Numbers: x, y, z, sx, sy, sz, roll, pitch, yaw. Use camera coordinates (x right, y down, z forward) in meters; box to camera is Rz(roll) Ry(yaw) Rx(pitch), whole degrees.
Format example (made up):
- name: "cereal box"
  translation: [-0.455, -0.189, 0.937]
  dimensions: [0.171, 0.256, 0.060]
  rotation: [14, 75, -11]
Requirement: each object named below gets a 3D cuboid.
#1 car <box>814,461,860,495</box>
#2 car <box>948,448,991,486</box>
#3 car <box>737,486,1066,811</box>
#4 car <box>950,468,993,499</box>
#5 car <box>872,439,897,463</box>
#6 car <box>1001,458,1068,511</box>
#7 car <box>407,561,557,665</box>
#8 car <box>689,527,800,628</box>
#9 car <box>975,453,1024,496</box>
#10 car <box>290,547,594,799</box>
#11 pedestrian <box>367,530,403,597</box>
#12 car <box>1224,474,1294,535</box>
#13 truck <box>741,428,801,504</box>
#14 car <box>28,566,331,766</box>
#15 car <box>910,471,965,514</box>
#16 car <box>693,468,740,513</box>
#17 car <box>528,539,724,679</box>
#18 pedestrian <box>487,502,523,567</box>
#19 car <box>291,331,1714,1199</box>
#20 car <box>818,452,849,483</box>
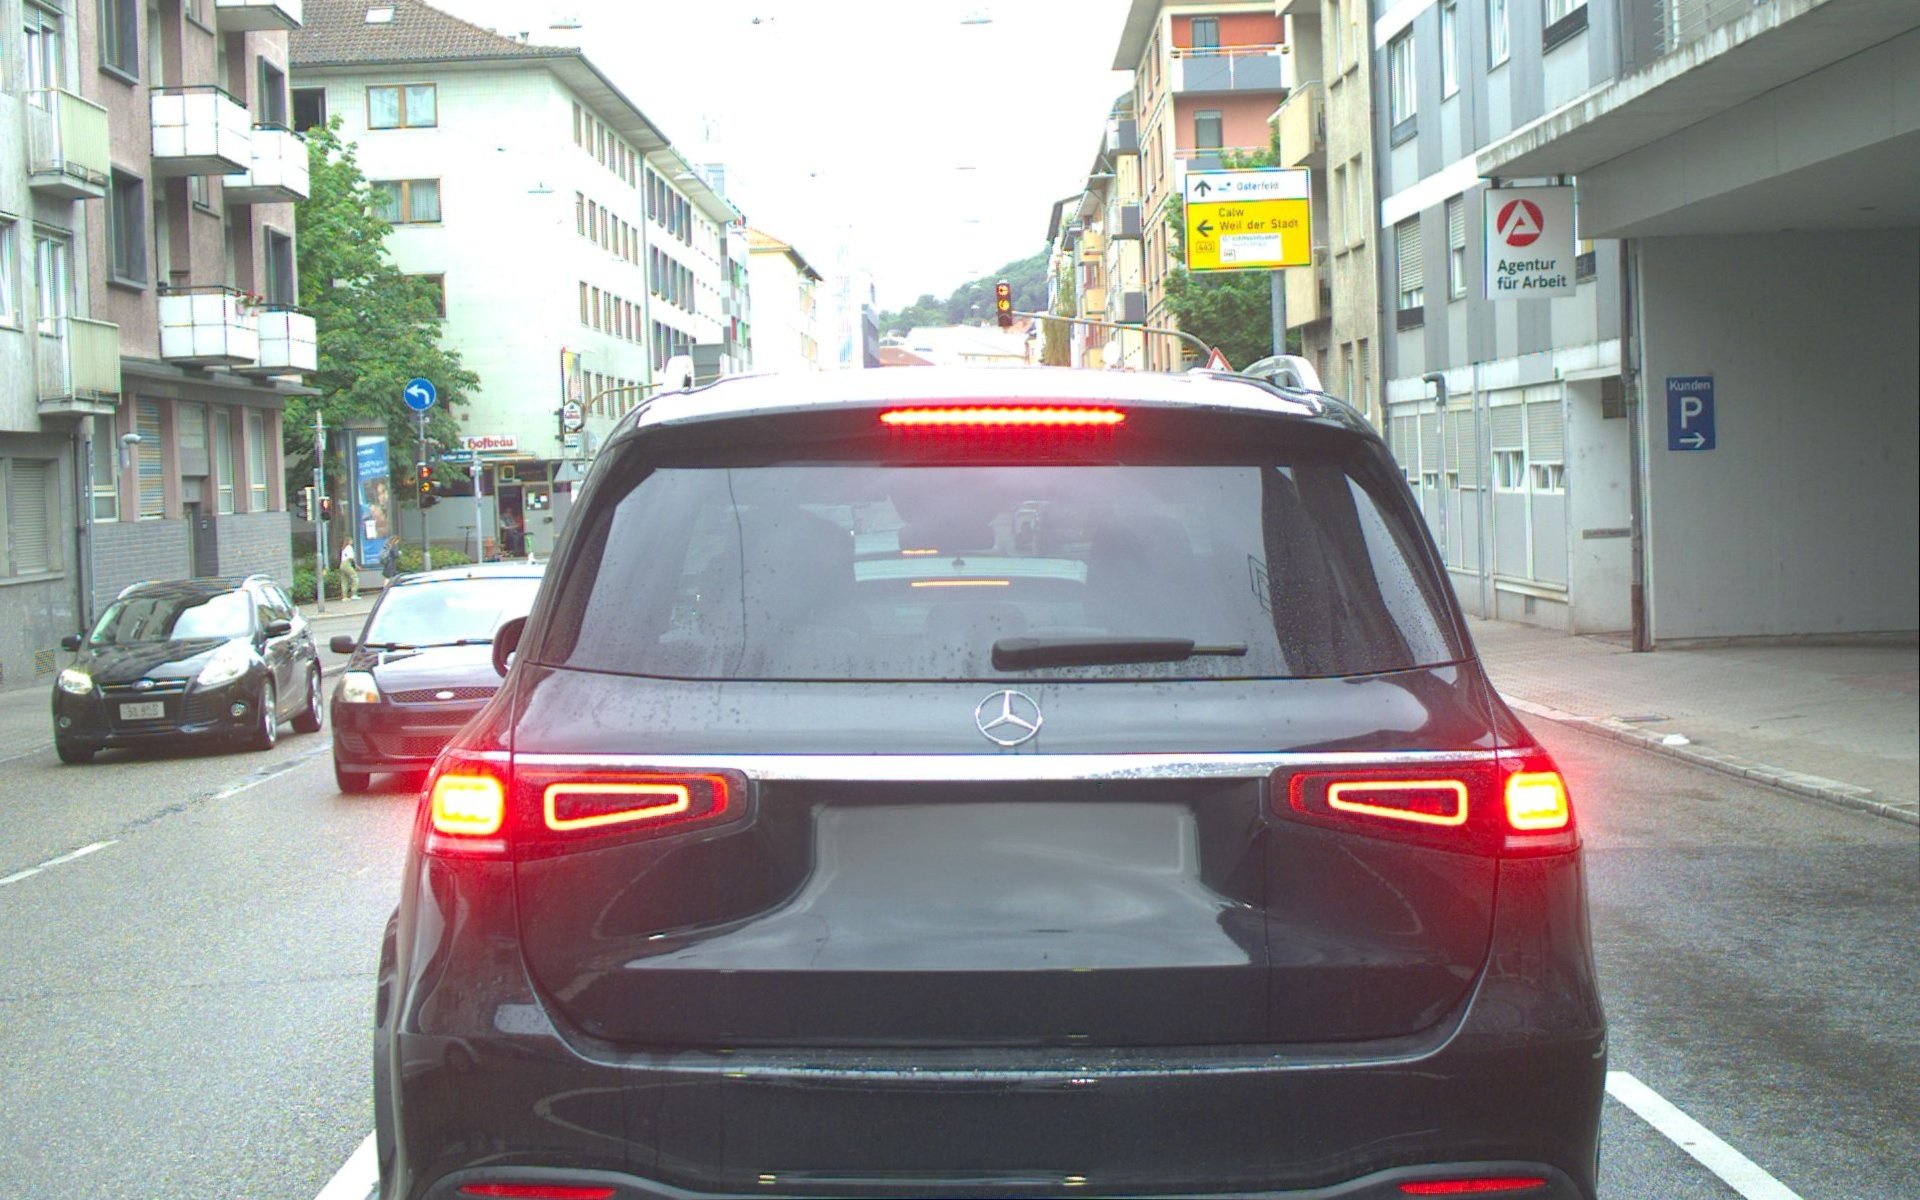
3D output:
- name: "car"
  translation: [-5.337, -5.293, 148.955]
  dimensions: [1.885, 1.260, 4.218]
  rotation: [-3, 1, -3]
- name: "car"
  translation: [0.421, -6.048, 156.879]
  dimensions: [1.618, 1.534, 4.218]
  rotation: [-3, 1, -3]
- name: "car"
  translation: [-0.419, 0.246, 20.843]
  dimensions: [1.751, 1.725, 4.218]
  rotation: [-1, 1, -3]
- name: "car"
  translation: [0.577, -5.840, 172.302]
  dimensions: [1.885, 1.367, 4.218]
  rotation: [-3, 1, -3]
- name: "car"
  translation: [-5.482, -10.829, 250.138]
  dimensions: [1.618, 1.534, 4.218]
  rotation: [-3, 1, -3]
- name: "car"
  translation: [2.194, -3.416, 102.040]
  dimensions: [1.618, 1.382, 4.218]
  rotation: [-3, 1, -3]
- name: "car"
  translation: [-7.088, 0.168, 51.324]
  dimensions: [1.694, 1.365, 4.367]
  rotation: [-4, 1, -2]
- name: "car"
  translation: [-3.687, -0.388, 59.410]
  dimensions: [1.694, 1.575, 4.218]
  rotation: [-4, 0, -2]
- name: "car"
  translation: [1.562, -5.019, 138.176]
  dimensions: [1.618, 1.534, 4.218]
  rotation: [-3, 1, -3]
- name: "car"
  translation: [-3.558, 0.452, 24.258]
  dimensions: [1.618, 1.534, 4.218]
  rotation: [-3, 1, -3]
- name: "pedestrian"
  translation: [-15.254, -0.972, 91.249]
  dimensions: [0.635, 1.758, 0.773]
  rotation: [-3, 1, -30]
- name: "car"
  translation: [8.222, -2.617, 94.616]
  dimensions: [1.671, 1.583, 3.330]
  rotation: [-2, 1, 2]
- name: "truck"
  translation: [-8.619, -6.066, 157.014]
  dimensions: [2.479, 3.035, 9.921]
  rotation: [-3, 1, -3]
- name: "car"
  translation: [-6.759, 0.515, 30.199]
  dimensions: [1.723, 1.468, 4.375]
  rotation: [-4, 1, -2]
- name: "car"
  translation: [-0.871, -4.058, 130.298]
  dimensions: [1.993, 1.483, 4.000]
  rotation: [-2, 1, -1]
- name: "car"
  translation: [-9.323, -4.173, 131.597]
  dimensions: [1.618, 1.534, 4.218]
  rotation: [-3, 1, -3]
- name: "car"
  translation: [-3.657, 0.083, 38.274]
  dimensions: [1.695, 1.365, 4.218]
  rotation: [-4, 0, 0]
- name: "pedestrian"
  translation: [-13.491, -1.938, 101.967]
  dimensions: [0.923, 1.895, 0.706]
  rotation: [-2, 1, -2]
- name: "car"
  translation: [0.032, 0.513, 7.029]
  dimensions: [1.985, 1.799, 4.390]
  rotation: [1, 1, -1]
- name: "car"
  translation: [-7.153, -7.455, 193.642]
  dimensions: [1.618, 1.534, 4.218]
  rotation: [-3, 1, -3]
